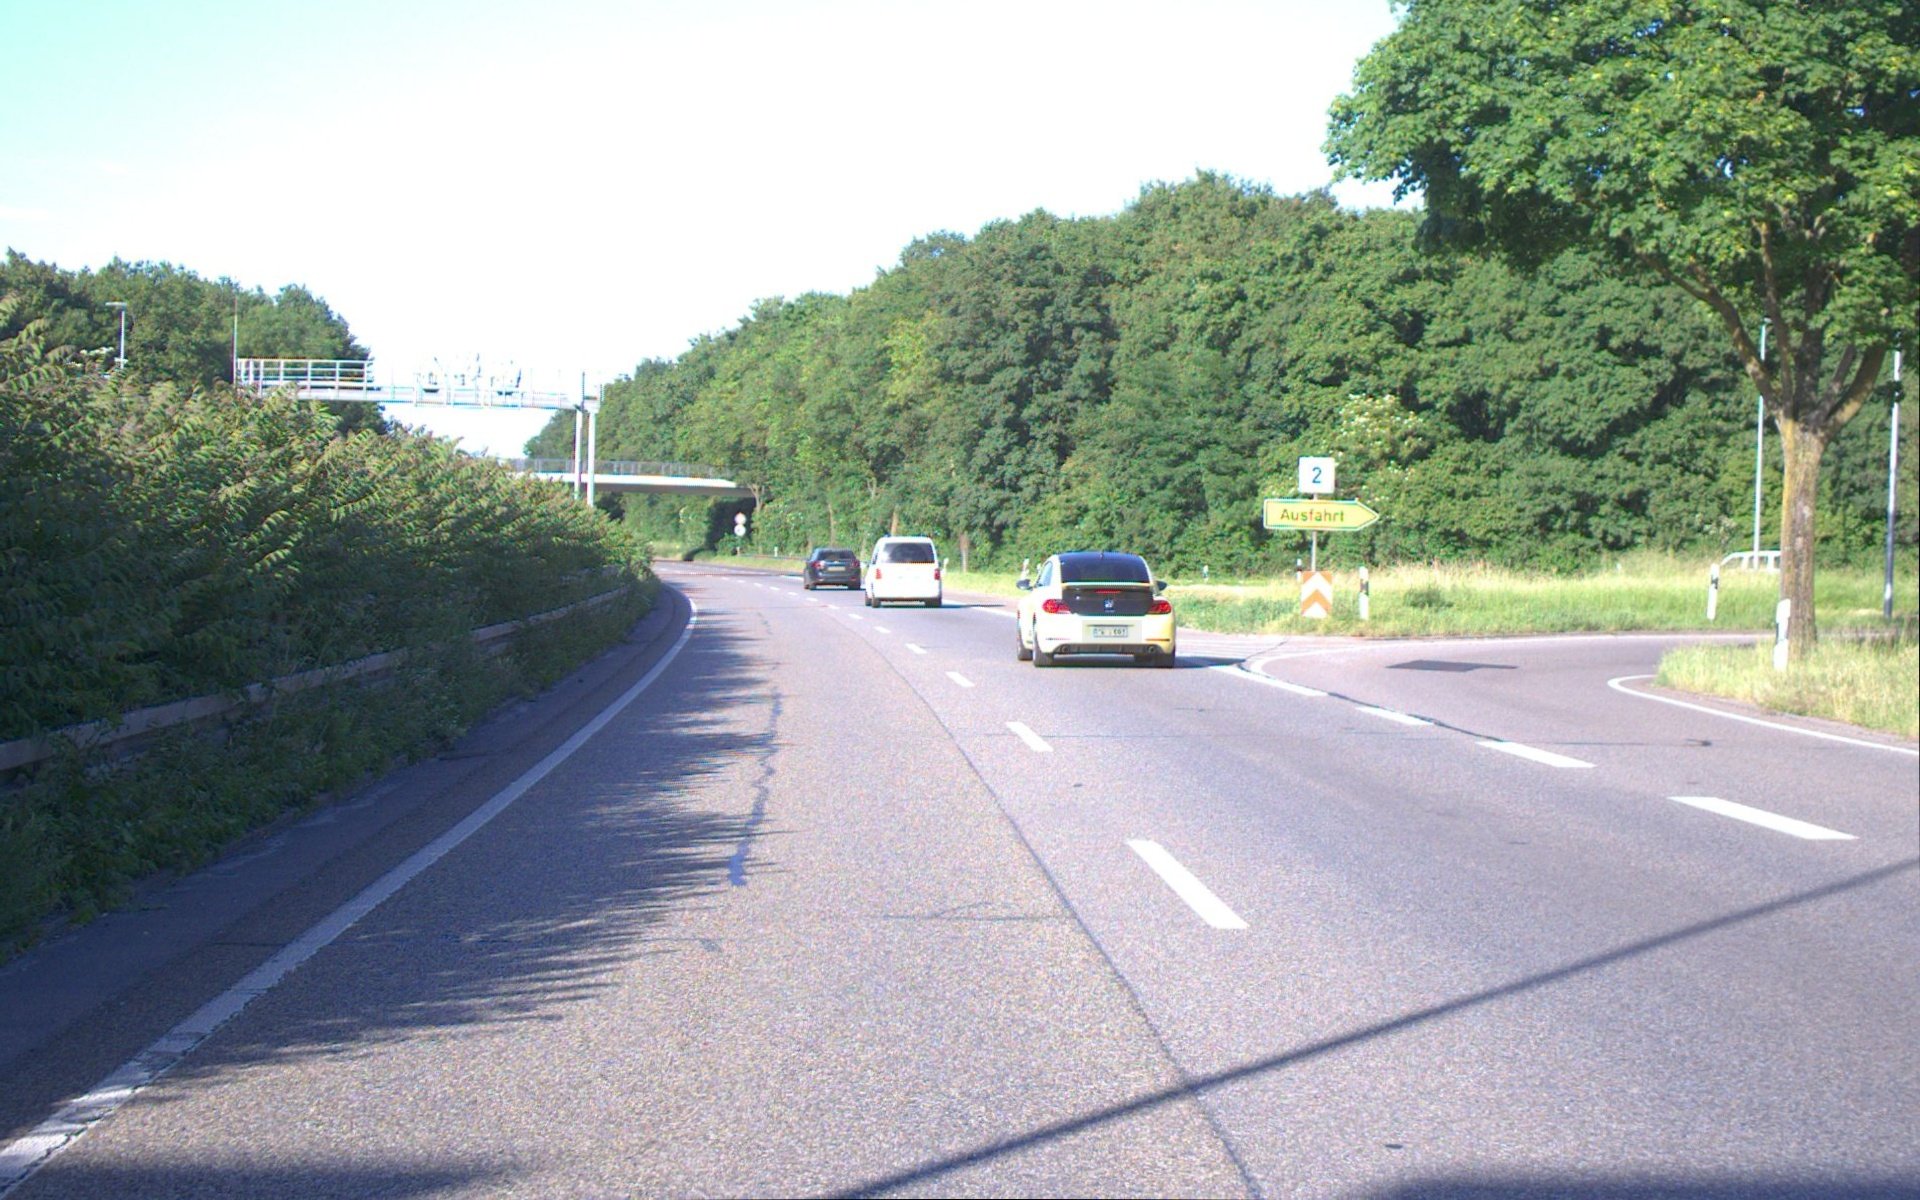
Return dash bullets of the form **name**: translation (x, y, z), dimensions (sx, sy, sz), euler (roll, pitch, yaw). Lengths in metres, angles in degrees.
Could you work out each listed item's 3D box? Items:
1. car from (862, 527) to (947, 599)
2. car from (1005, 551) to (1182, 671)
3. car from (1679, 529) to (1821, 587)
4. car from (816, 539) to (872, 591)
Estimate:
- **car**: translation (-1.439, -0.931, 87.373), dimensions (1.897, 1.761, 4.001), euler (0, 0, -5)
- **car**: translation (1.682, 0.110, 44.607), dimensions (1.897, 1.466, 4.001), euler (0, 1, -3)
- **car**: translation (25.251, -1.344, 109.993), dimensions (3.997, 1.817, 1.898), euler (1, 1, 43)
- **car**: translation (-4.044, -1.243, 119.845), dimensions (1.897, 1.761, 4.000), euler (0, 1, -2)
